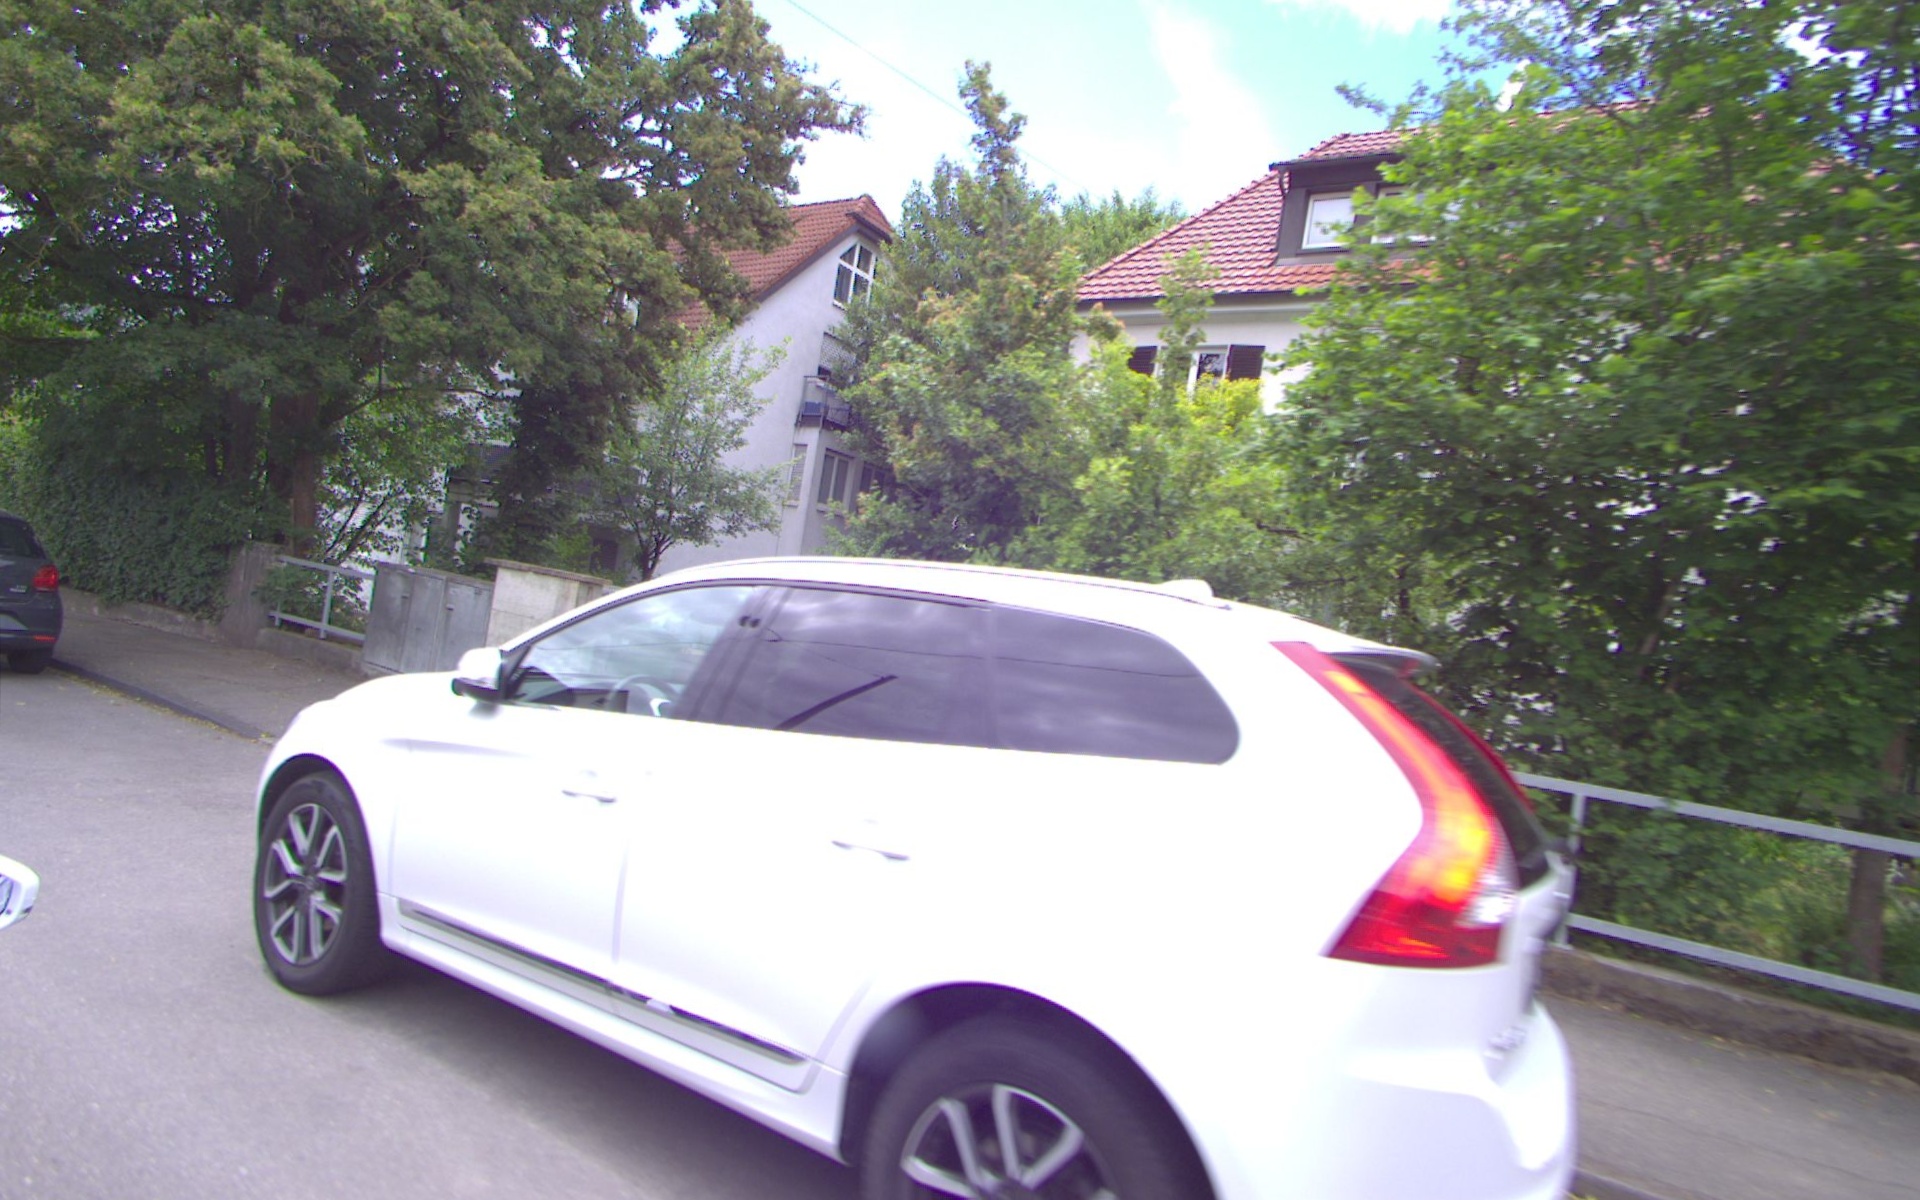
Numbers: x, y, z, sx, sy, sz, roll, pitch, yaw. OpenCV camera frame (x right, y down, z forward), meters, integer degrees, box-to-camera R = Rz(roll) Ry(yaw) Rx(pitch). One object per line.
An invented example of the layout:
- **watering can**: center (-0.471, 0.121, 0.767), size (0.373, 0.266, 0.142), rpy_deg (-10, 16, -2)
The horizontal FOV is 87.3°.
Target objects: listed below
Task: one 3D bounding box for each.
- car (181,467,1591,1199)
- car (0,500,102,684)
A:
- **car**: center (-0.503, 0.659, 3.409), size (4.278, 1.704, 1.869), rpy_deg (7, -2, 32)
- **car**: center (-9.702, -0.284, 9.030), size (3.725, 1.504, 1.714), rpy_deg (7, -2, 29)
